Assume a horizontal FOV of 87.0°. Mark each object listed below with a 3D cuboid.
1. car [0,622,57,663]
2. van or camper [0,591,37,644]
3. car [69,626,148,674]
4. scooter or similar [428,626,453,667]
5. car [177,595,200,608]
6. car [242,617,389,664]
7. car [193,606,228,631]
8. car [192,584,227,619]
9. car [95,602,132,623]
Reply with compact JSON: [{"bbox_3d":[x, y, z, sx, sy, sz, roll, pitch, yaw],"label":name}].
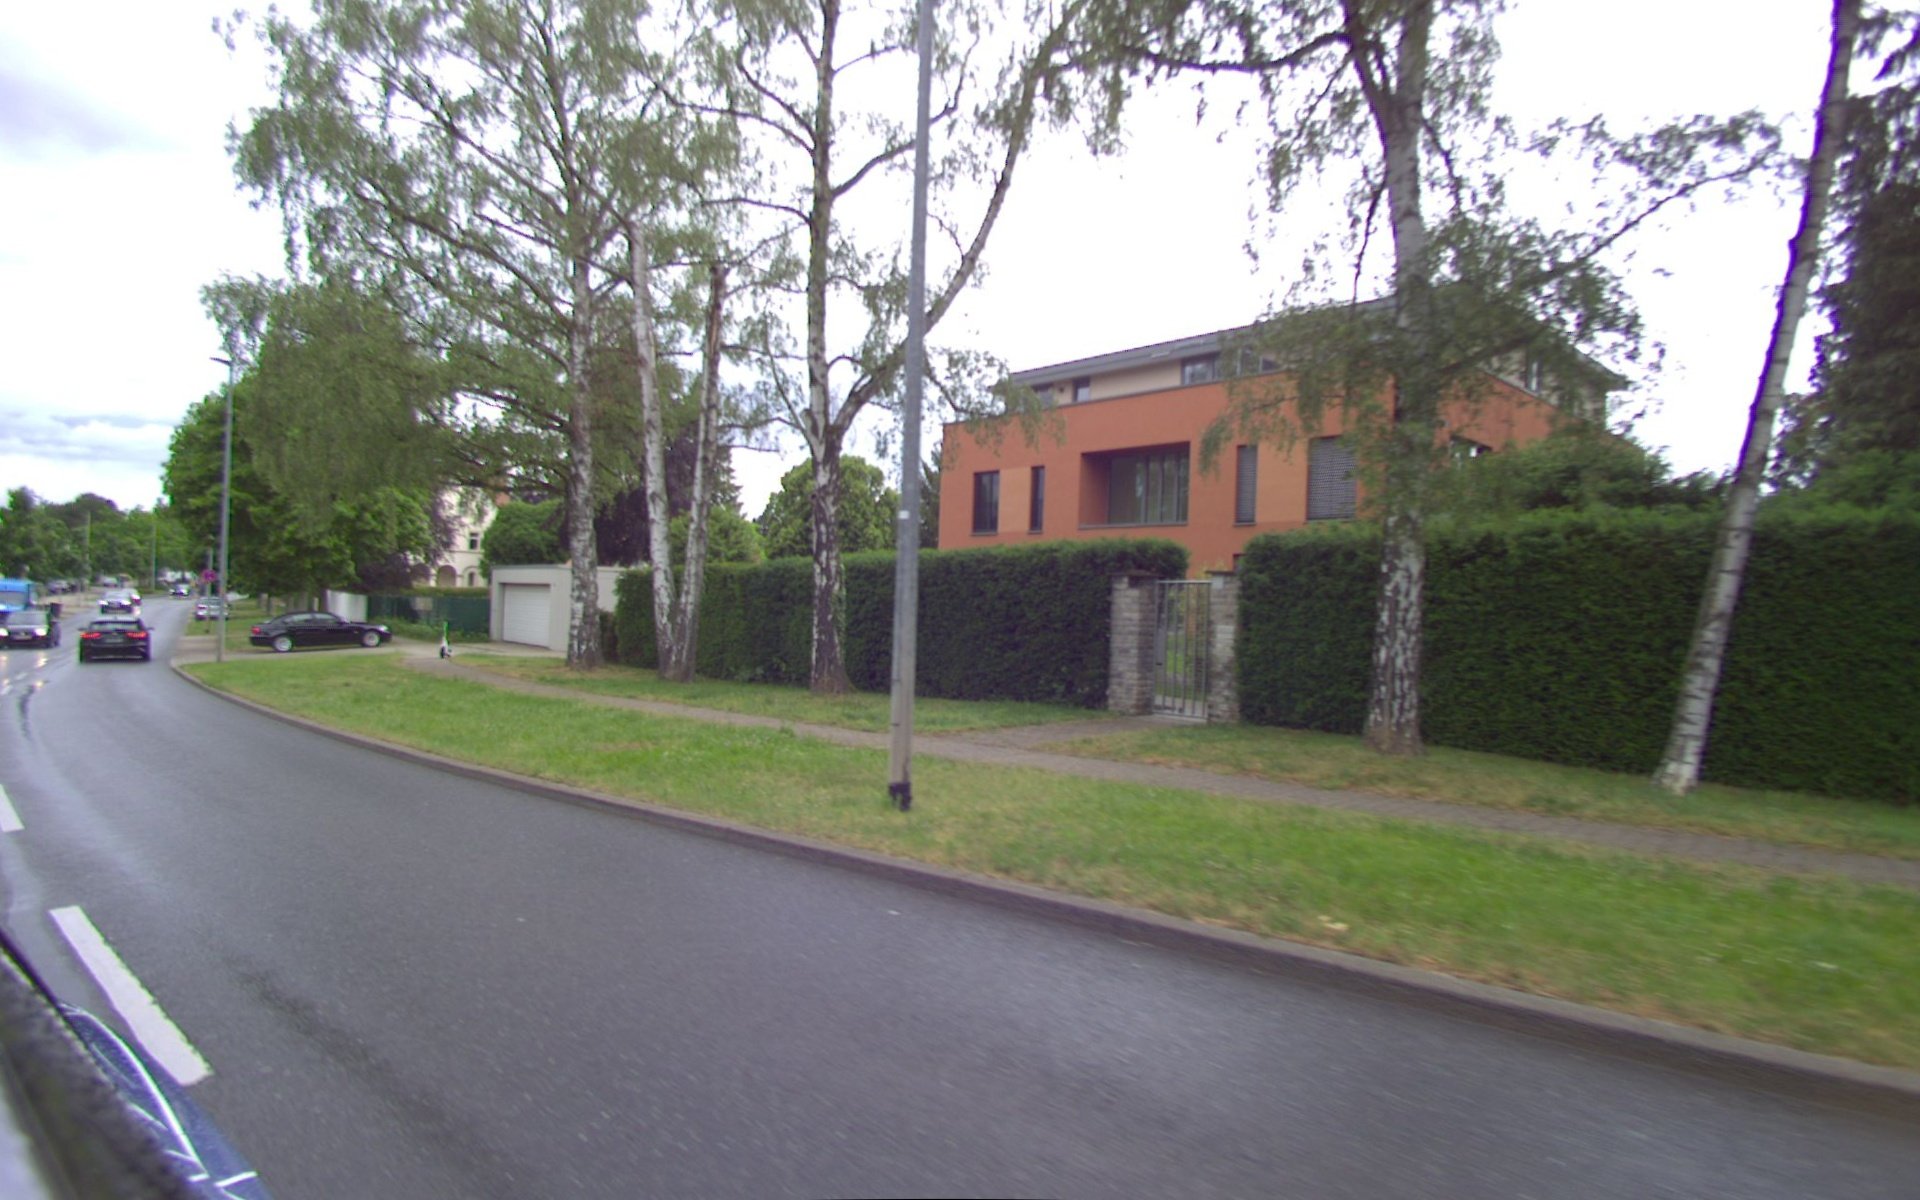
[{"bbox_3d":[-38.245,1.684,41.117,1.817,1.552,4.010,0,-1,-34],"label":"car"},{"bbox_3d":[-49.917,0.834,52.608,2.115,2.628,5.795,4,-2,-36],"label":"van or camper"},{"bbox_3d":[-28.132,1.606,33.394,1.734,1.452,4.160,0,-1,-44],"label":"car"},{"bbox_3d":[-15.170,1.348,29.570,0.418,1.167,1.494,-1,-1,-18],"label":"scooter or similar"},{"bbox_3d":[-88.788,0.178,116.564,1.865,1.552,4.011,0,-1,-34],"label":"car"},{"bbox_3d":[-23.470,1.434,36.931,4.370,1.428,1.759,-2,1,-38],"label":"car"},{"bbox_3d":[-50.591,1.230,68.365,1.747,1.619,4.010,2,-1,-34],"label":"car"},{"bbox_3d":[-64.503,0.089,87.080,2.212,2.860,5.058,0,0,-34],"label":"car"},{"bbox_3d":[-64.995,0.967,77.785,1.866,1.552,4.010,0,-1,-36],"label":"car"}]
